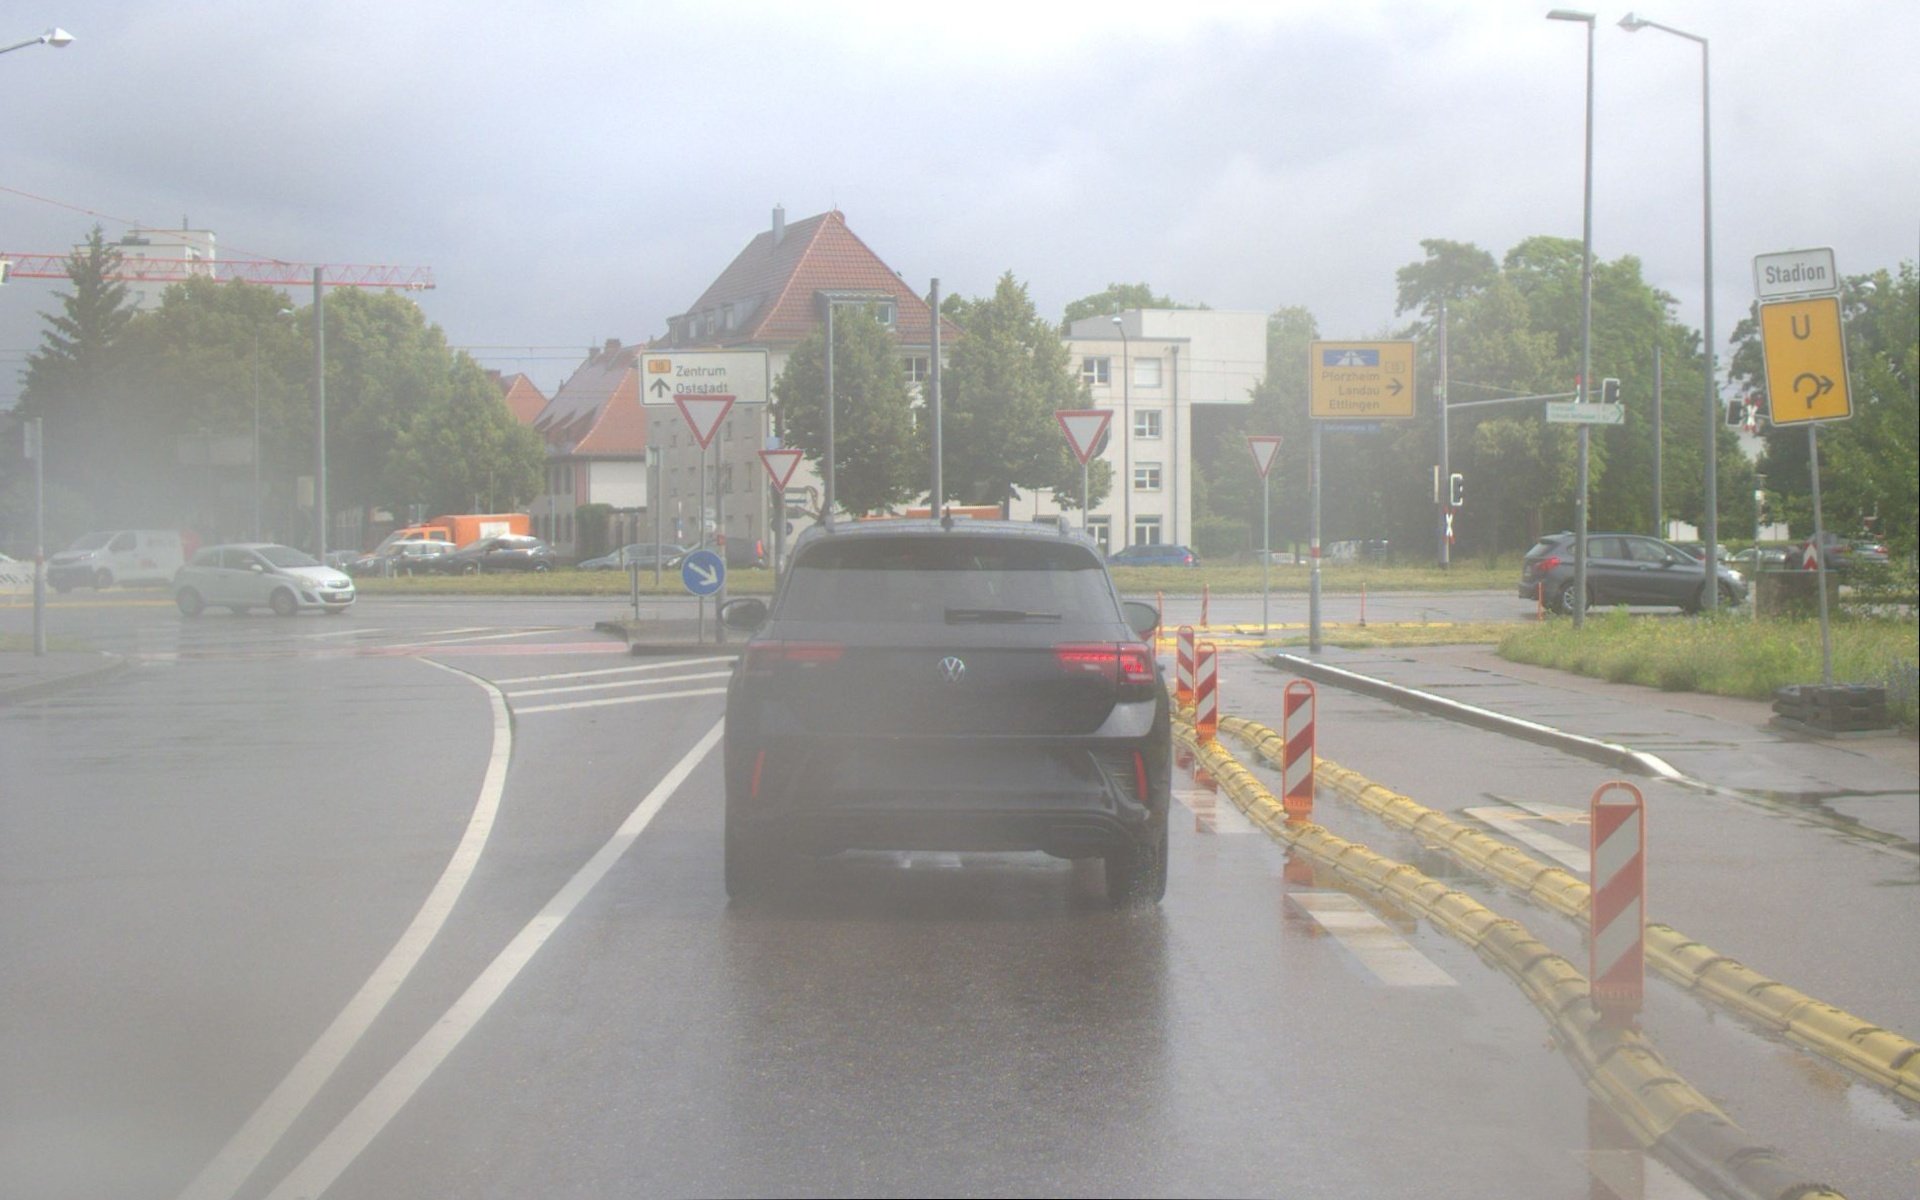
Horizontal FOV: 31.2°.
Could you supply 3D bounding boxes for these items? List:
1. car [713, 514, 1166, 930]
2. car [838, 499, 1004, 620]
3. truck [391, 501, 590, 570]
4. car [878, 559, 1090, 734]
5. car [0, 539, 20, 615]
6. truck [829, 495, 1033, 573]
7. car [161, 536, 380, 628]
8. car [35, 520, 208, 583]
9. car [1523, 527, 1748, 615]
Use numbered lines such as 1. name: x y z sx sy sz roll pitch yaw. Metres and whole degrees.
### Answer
1. car: -0.203 0.447 14.954 1.708 1.568 3.683 1 1 -4
2. car: -0.560 -0.653 53.700 1.865 1.803 4.402 0 1 9
3. truck: -16.953 -2.332 124.228 6.701 2.434 2.434 -1 1 -25
4. car: 0.170 0.390 32.016 1.735 1.509 3.604 0 1 -3
5. car: -21.845 -0.390 71.674 4.419 1.546 1.783 -2 2 33
6. truck: -1.004 -2.307 120.211 7.066 2.641 2.330 0 1 0
7. car: -14.057 -0.376 70.099 3.992 1.824 1.997 0 1 26
8. car: -25.587 -1.508 105.067 1.892 1.870 5.122 1 1 37
9. car: 12.852 -0.562 65.526 3.941 1.639 1.671 0 1 0
